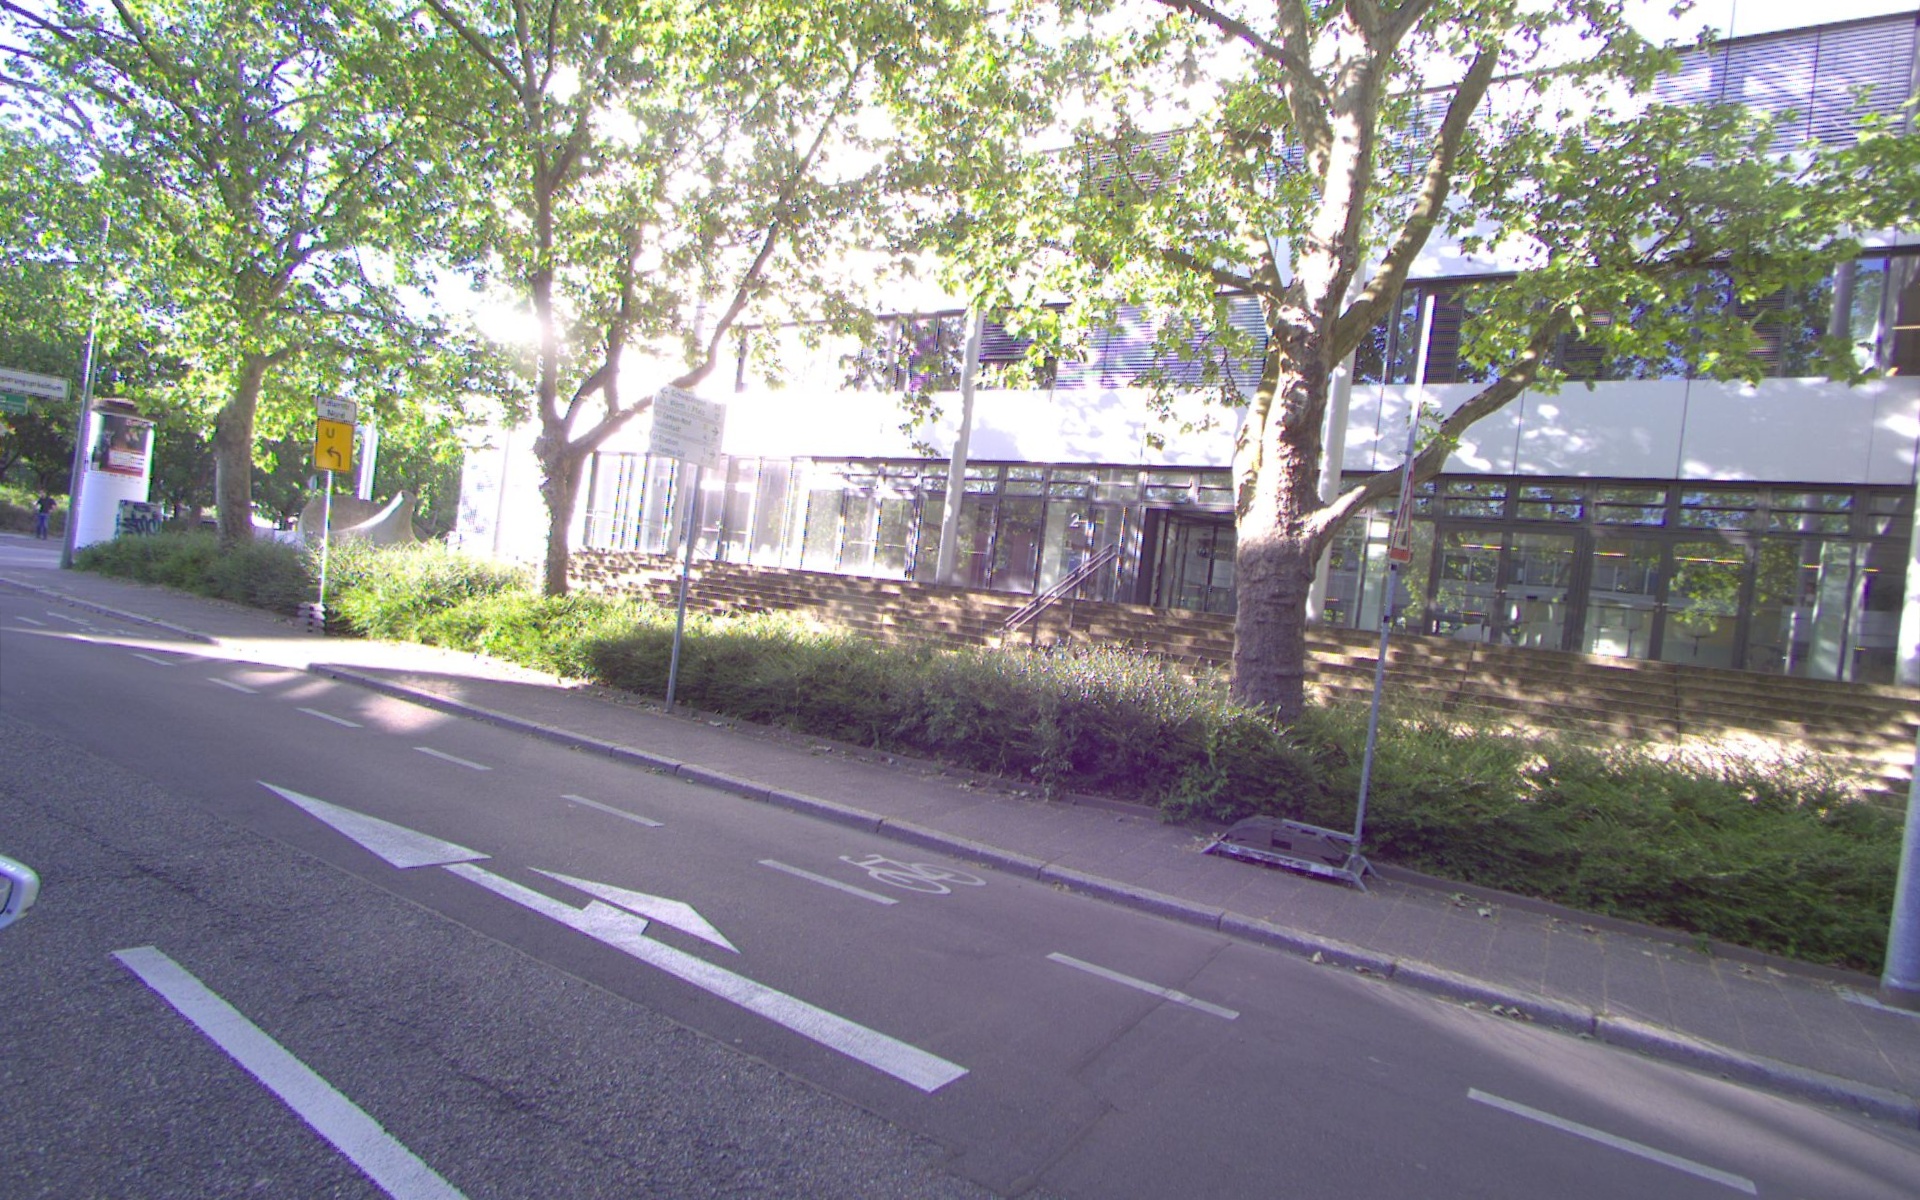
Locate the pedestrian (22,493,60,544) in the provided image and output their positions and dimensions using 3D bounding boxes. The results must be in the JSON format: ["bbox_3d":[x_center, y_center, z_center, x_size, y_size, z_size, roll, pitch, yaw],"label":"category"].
[{"bbox_3d":[-35.095,-3.116,38.436,0.730,1.799,0.724,8,-1,-28],"label":"pedestrian"}]
